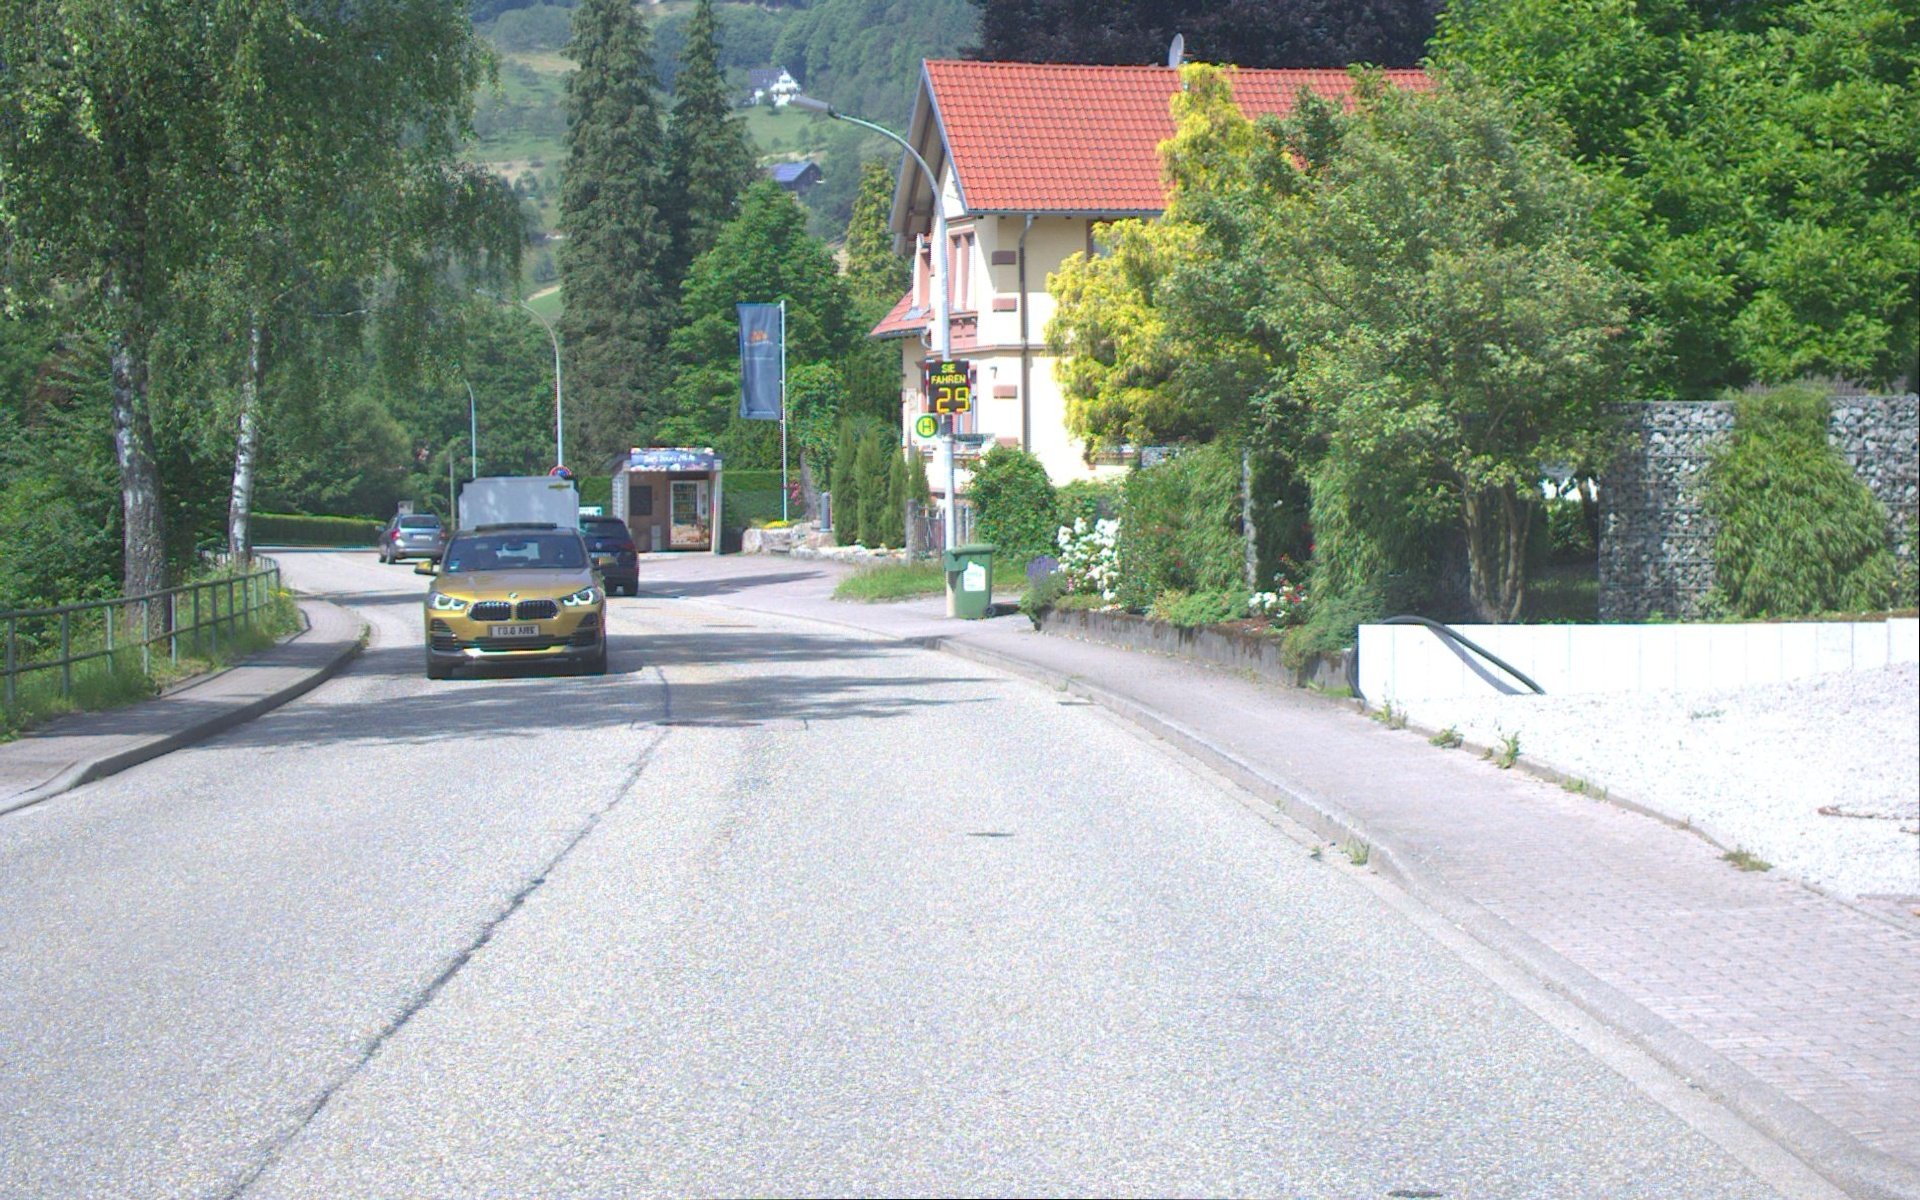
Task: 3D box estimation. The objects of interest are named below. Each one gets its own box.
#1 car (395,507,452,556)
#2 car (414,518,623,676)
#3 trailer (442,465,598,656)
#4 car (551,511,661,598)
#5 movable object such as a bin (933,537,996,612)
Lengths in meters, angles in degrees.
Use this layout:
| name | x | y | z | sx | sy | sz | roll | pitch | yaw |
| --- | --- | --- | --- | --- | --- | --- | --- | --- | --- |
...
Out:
| name | x | y | z | sx | sy | sz | roll | pitch | yaw |
| --- | --- | --- | --- | --- | --- | --- | --- | --- | --- |
| car | -15.838 | -2.016 | 101.495 | 1.628 | 1.417 | 3.399 | 0 | 1 | -9 |
| car | -4.511 | -0.083 | 35.631 | 1.813 | 1.495 | 4.150 | -1 | 1 | -3 |
| trailer | -5.033 | -0.480 | 39.647 | 1.466 | 2.070 | 3.671 | -1 | 1 | -3 |
| car | -7.291 | -0.954 | 70.486 | 1.919 | 1.692 | 3.789 | -1 | 1 | -10 |
| movable object such as a bin | 0.060 | -0.366 | 49.372 | 0.809 | 1.039 | 0.579 | -1 | 2 | -9 |
